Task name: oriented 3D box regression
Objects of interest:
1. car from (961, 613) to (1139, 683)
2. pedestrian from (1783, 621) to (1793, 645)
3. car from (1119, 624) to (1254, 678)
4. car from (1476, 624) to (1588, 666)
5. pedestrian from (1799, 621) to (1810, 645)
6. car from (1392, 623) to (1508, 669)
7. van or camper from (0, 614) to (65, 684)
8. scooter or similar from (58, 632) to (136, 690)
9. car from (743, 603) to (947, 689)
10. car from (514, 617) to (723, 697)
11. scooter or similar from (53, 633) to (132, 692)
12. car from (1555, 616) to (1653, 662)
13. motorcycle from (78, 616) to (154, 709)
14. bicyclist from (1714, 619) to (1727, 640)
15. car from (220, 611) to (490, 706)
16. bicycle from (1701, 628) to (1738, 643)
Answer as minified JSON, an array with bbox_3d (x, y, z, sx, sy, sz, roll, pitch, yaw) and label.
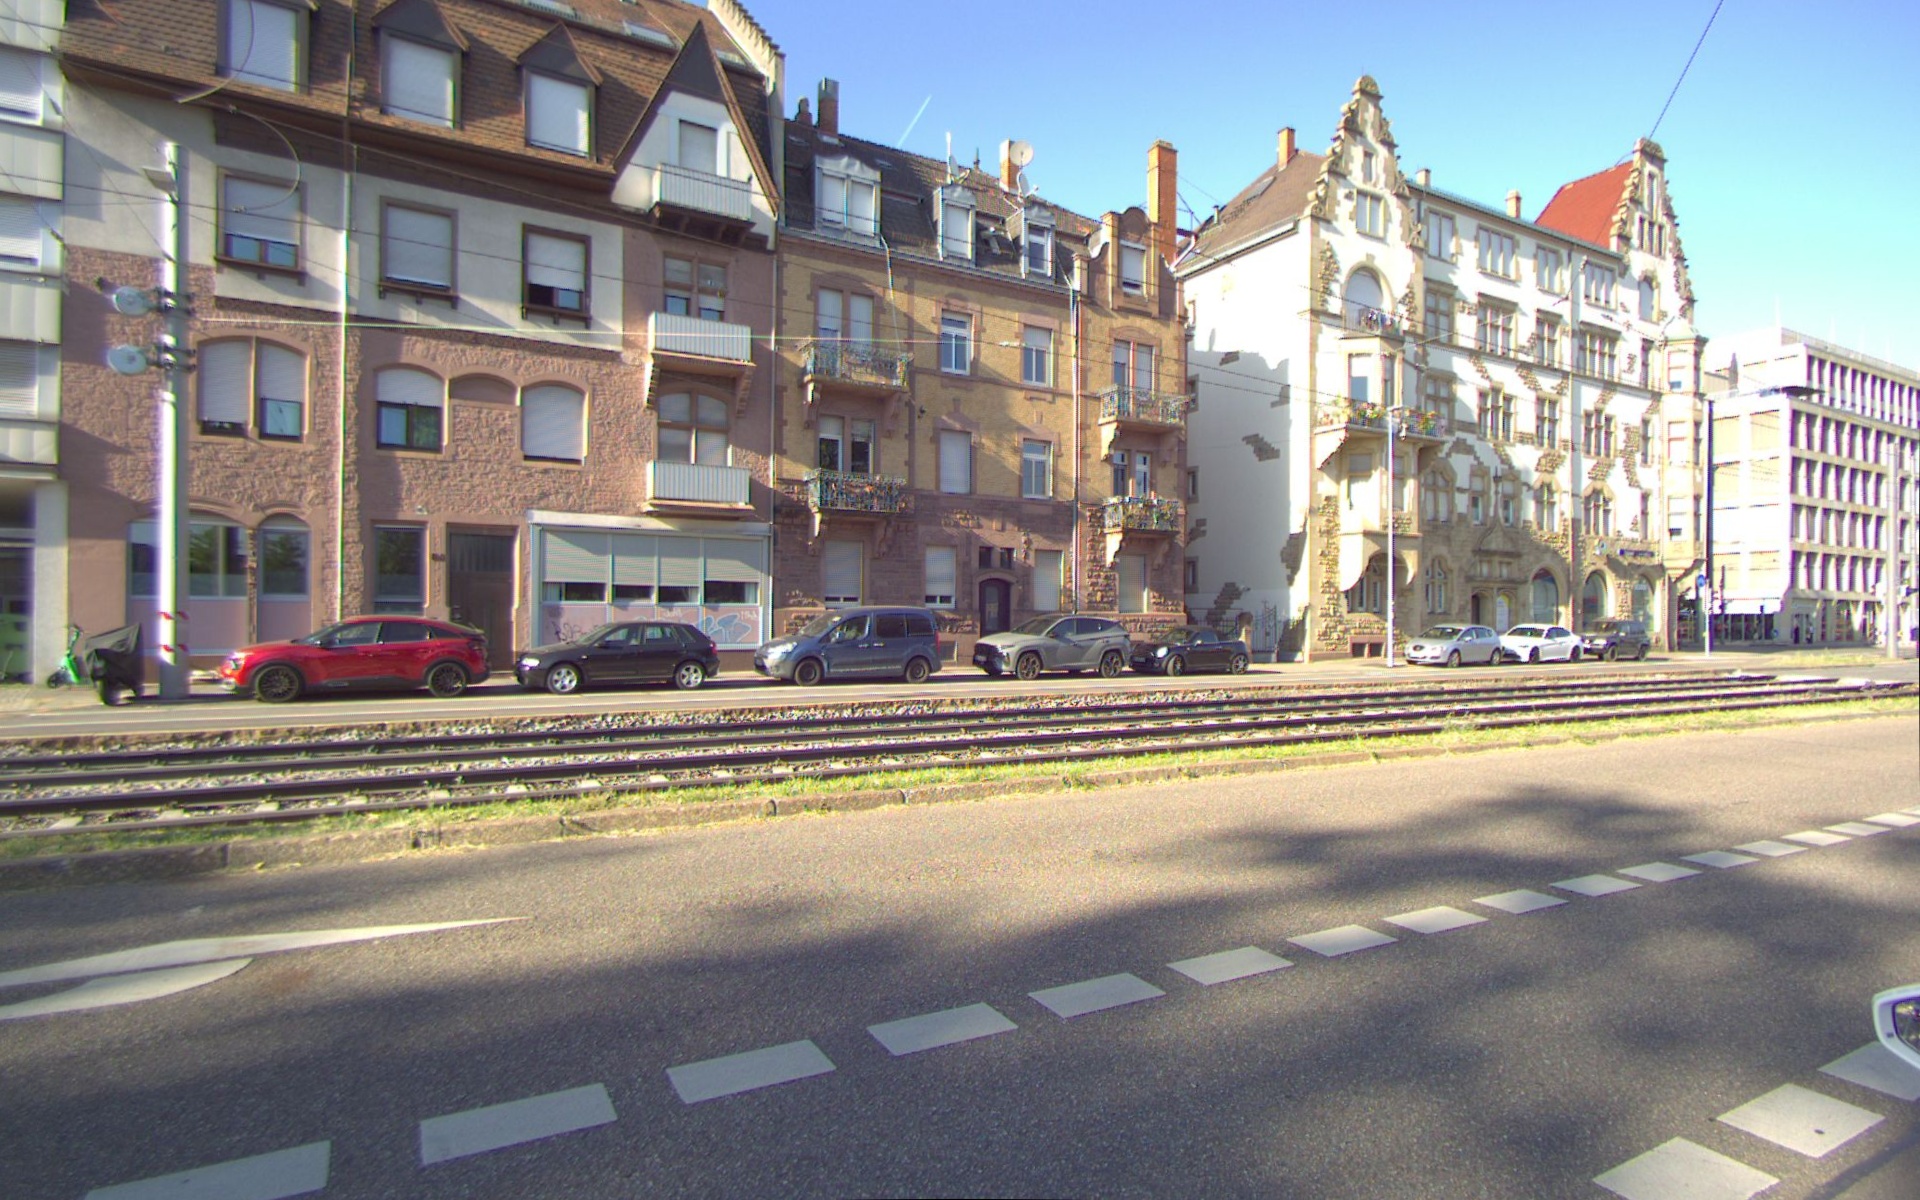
[{"bbox_3d":[2.408,1.216,26.624,4.451,1.645,1.846,1,2,-31],"label":"car"},{"bbox_3d":[63.890,2.547,77.473,0.464,1.868,0.443,0,-1,23],"label":"pedestrian"},{"bbox_3d":[6.538,1.431,28.927,3.683,1.373,1.614,1,2,-31],"label":"car"},{"bbox_3d":[21.869,1.661,38.360,4.603,1.442,1.708,1,1,-32],"label":"car"},{"bbox_3d":[64.643,2.535,76.916,0.522,1.868,0.443,0,-1,23],"label":"pedestrian"},{"bbox_3d":[17.238,1.568,35.293,4.177,1.450,1.700,1,1,-32],"label":"car"},{"bbox_3d":[-18.780,0.969,20.239,0.794,1.375,1.418,1,-1,-29],"label":"van or camper"},{"bbox_3d":[-16.652,1.165,19.393,1.108,1.083,0.203,1,1,-30],"label":"scooter or similar"},{"bbox_3d":[-2.688,1.035,23.573,4.361,1.782,1.878,1,2,-28],"label":"car"},{"bbox_3d":[-7.100,1.122,20.974,3.882,1.457,1.686,1,2,-31],"label":"car"},{"bbox_3d":[-16.527,1.180,19.150,1.108,1.083,0.203,1,1,-30],"label":"scooter or similar"},{"bbox_3d":[26.320,1.558,41.002,4.169,1.698,1.708,1,1,-32],"label":"car"},{"bbox_3d":[-14.409,1.021,17.188,0.621,1.441,1.847,0,1,-29],"label":"motorcycle"},{"bbox_3d":[62.213,2.393,82.193,0.570,1.708,0.638,1,-1,-30],"label":"bicyclist"},{"bbox_3d":[-11.234,1.026,18.927,4.162,1.519,1.846,1,2,-31],"label":"car"},{"bbox_3d":[62.164,2.892,82.268,0.570,1.231,2.370,1,-2,-29],"label":"bicycle"}]
